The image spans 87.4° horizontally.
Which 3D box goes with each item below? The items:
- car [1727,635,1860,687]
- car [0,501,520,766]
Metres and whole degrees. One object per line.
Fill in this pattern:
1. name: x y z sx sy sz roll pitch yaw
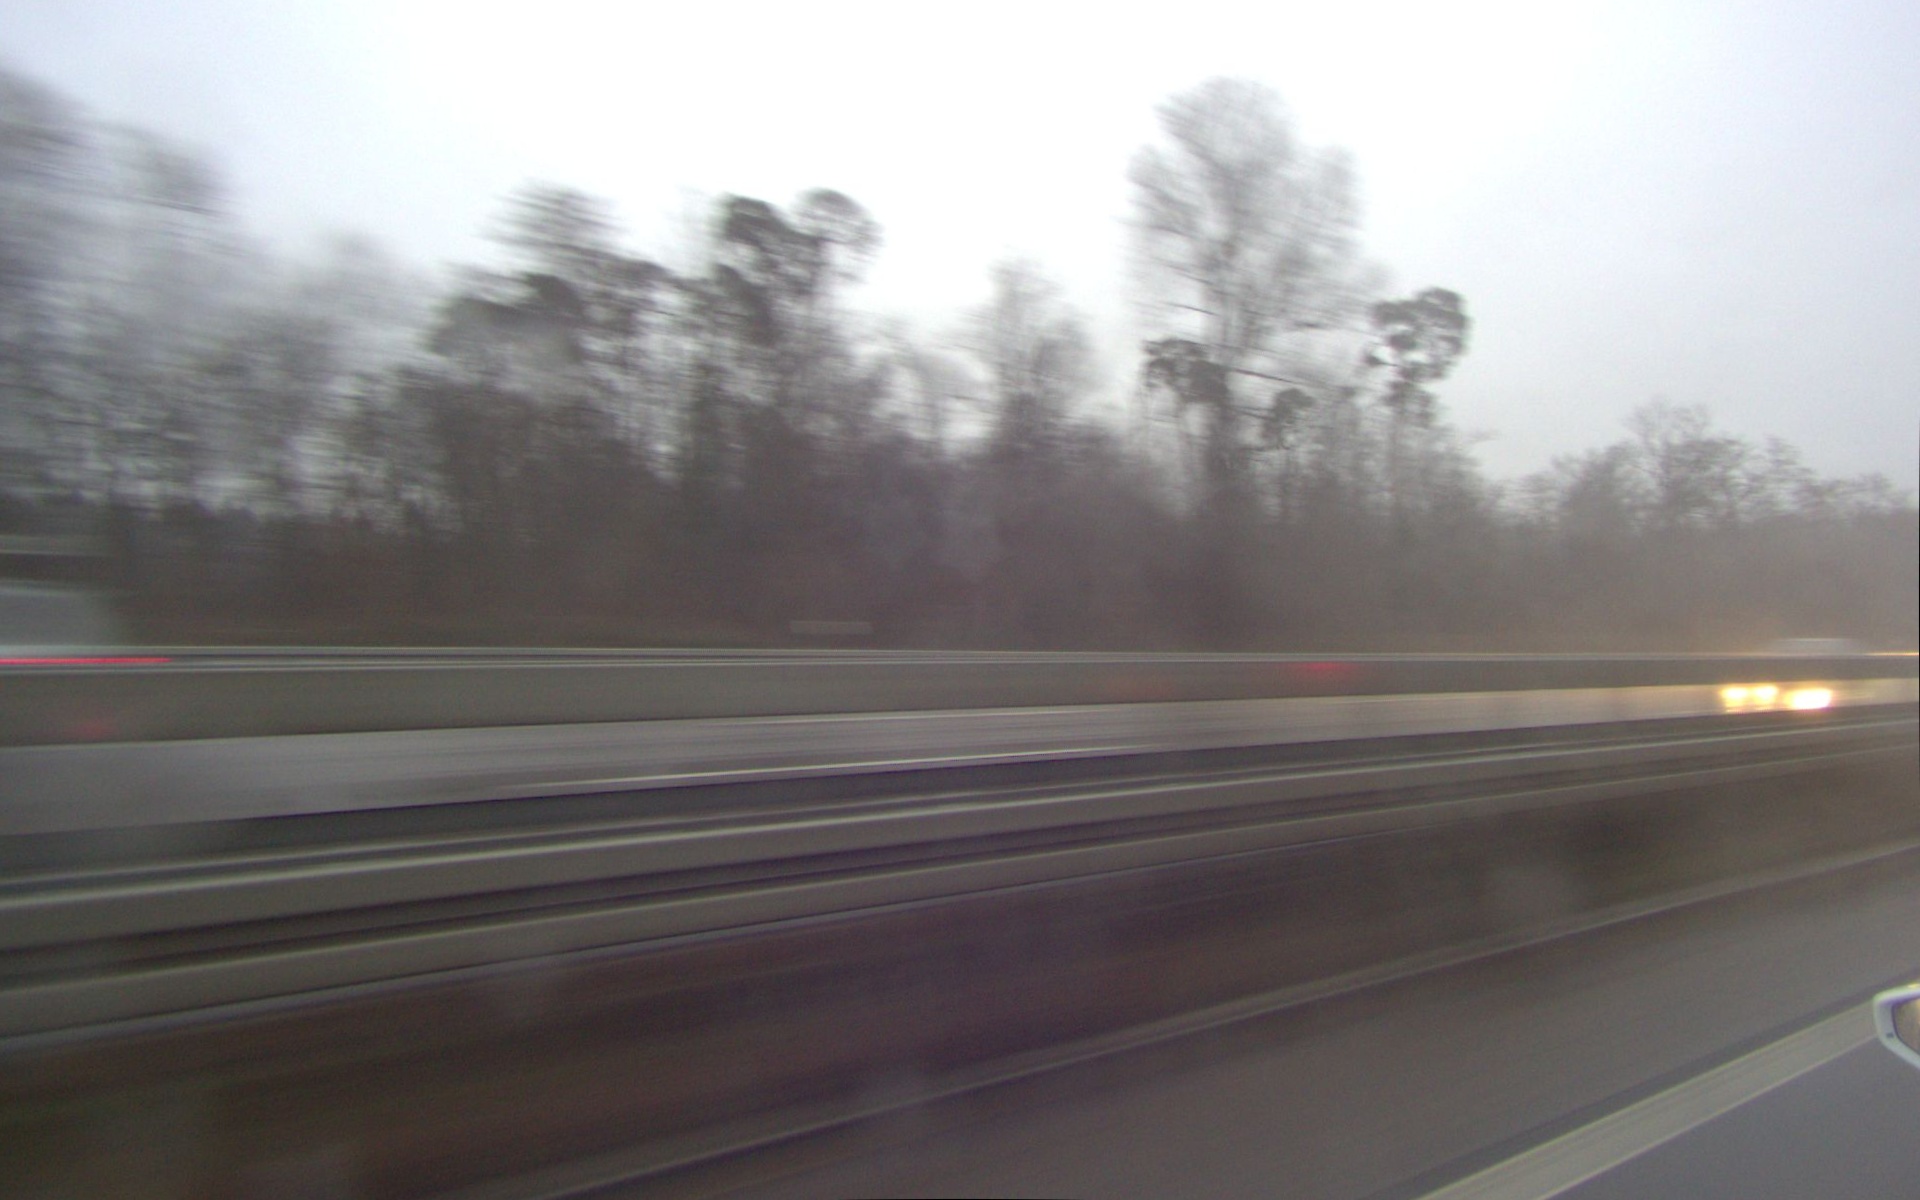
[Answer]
1. car: 24.448 1.756 29.428 4.108 1.369 1.696 1 0 -30
2. car: -6.974 0.293 9.169 5.196 2.040 1.984 2 -1 -31
